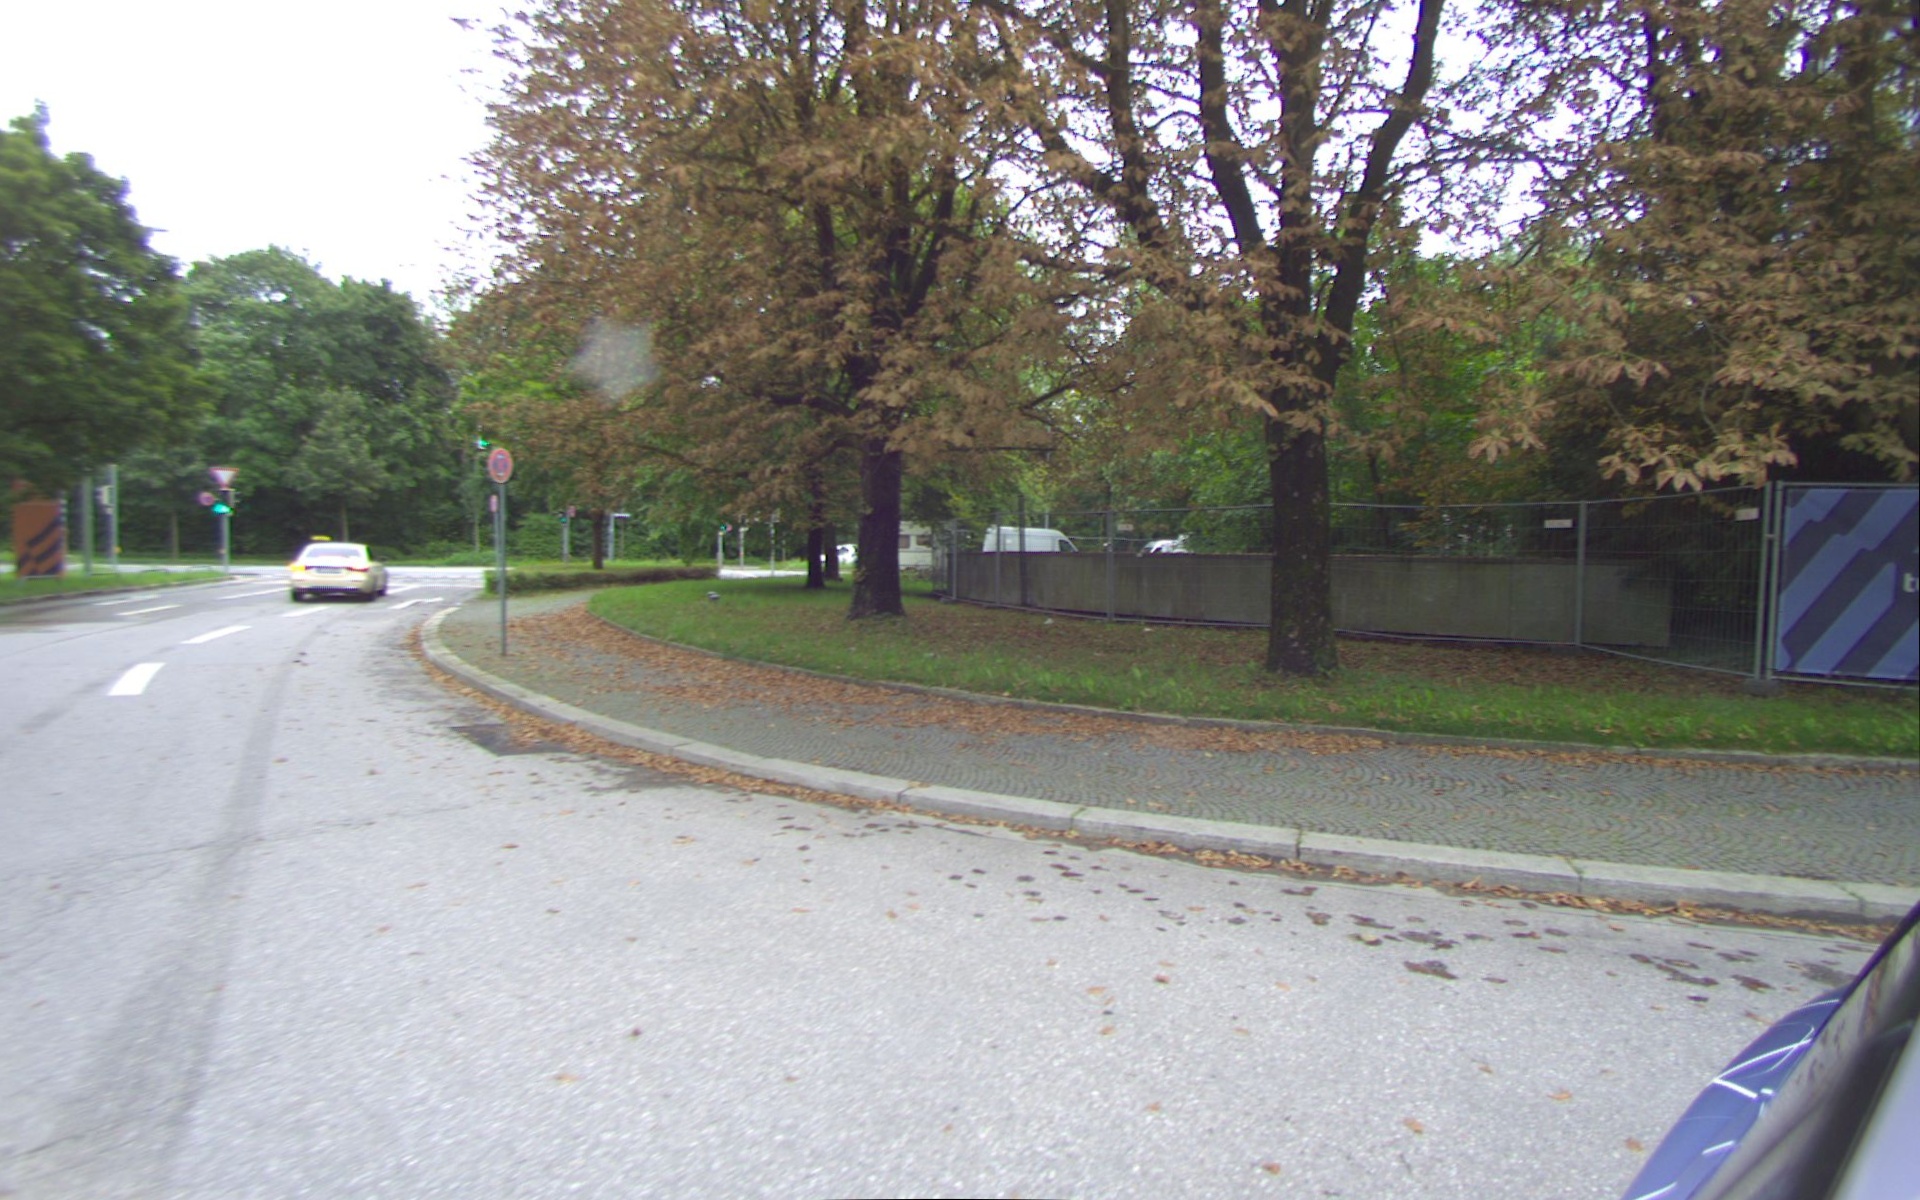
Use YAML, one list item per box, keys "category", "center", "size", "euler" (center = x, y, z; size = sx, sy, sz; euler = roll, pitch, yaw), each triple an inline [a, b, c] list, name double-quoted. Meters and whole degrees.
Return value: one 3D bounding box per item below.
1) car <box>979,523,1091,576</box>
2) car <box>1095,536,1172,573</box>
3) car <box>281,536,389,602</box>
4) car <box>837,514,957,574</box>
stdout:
- category: "car"
  center: [3.887, -2.591, 52.356]
  size: [5.343, 2.612, 2.082]
  euler: [0, 2, -19]
- category: "car"
  center: [12.626, -3.295, 73.708]
  size: [5.028, 2.612, 2.082]
  euler: [0, 2, -18]
- category: "car"
  center: [-16.364, -0.839, 26.724]
  size: [1.855, 1.564, 4.864]
  euler: [0, 2, -25]
- category: "car"
  center: [-3.113, -2.738, 49.780]
  size: [5.479, 2.767, 2.082]
  euler: [0, 2, -19]
